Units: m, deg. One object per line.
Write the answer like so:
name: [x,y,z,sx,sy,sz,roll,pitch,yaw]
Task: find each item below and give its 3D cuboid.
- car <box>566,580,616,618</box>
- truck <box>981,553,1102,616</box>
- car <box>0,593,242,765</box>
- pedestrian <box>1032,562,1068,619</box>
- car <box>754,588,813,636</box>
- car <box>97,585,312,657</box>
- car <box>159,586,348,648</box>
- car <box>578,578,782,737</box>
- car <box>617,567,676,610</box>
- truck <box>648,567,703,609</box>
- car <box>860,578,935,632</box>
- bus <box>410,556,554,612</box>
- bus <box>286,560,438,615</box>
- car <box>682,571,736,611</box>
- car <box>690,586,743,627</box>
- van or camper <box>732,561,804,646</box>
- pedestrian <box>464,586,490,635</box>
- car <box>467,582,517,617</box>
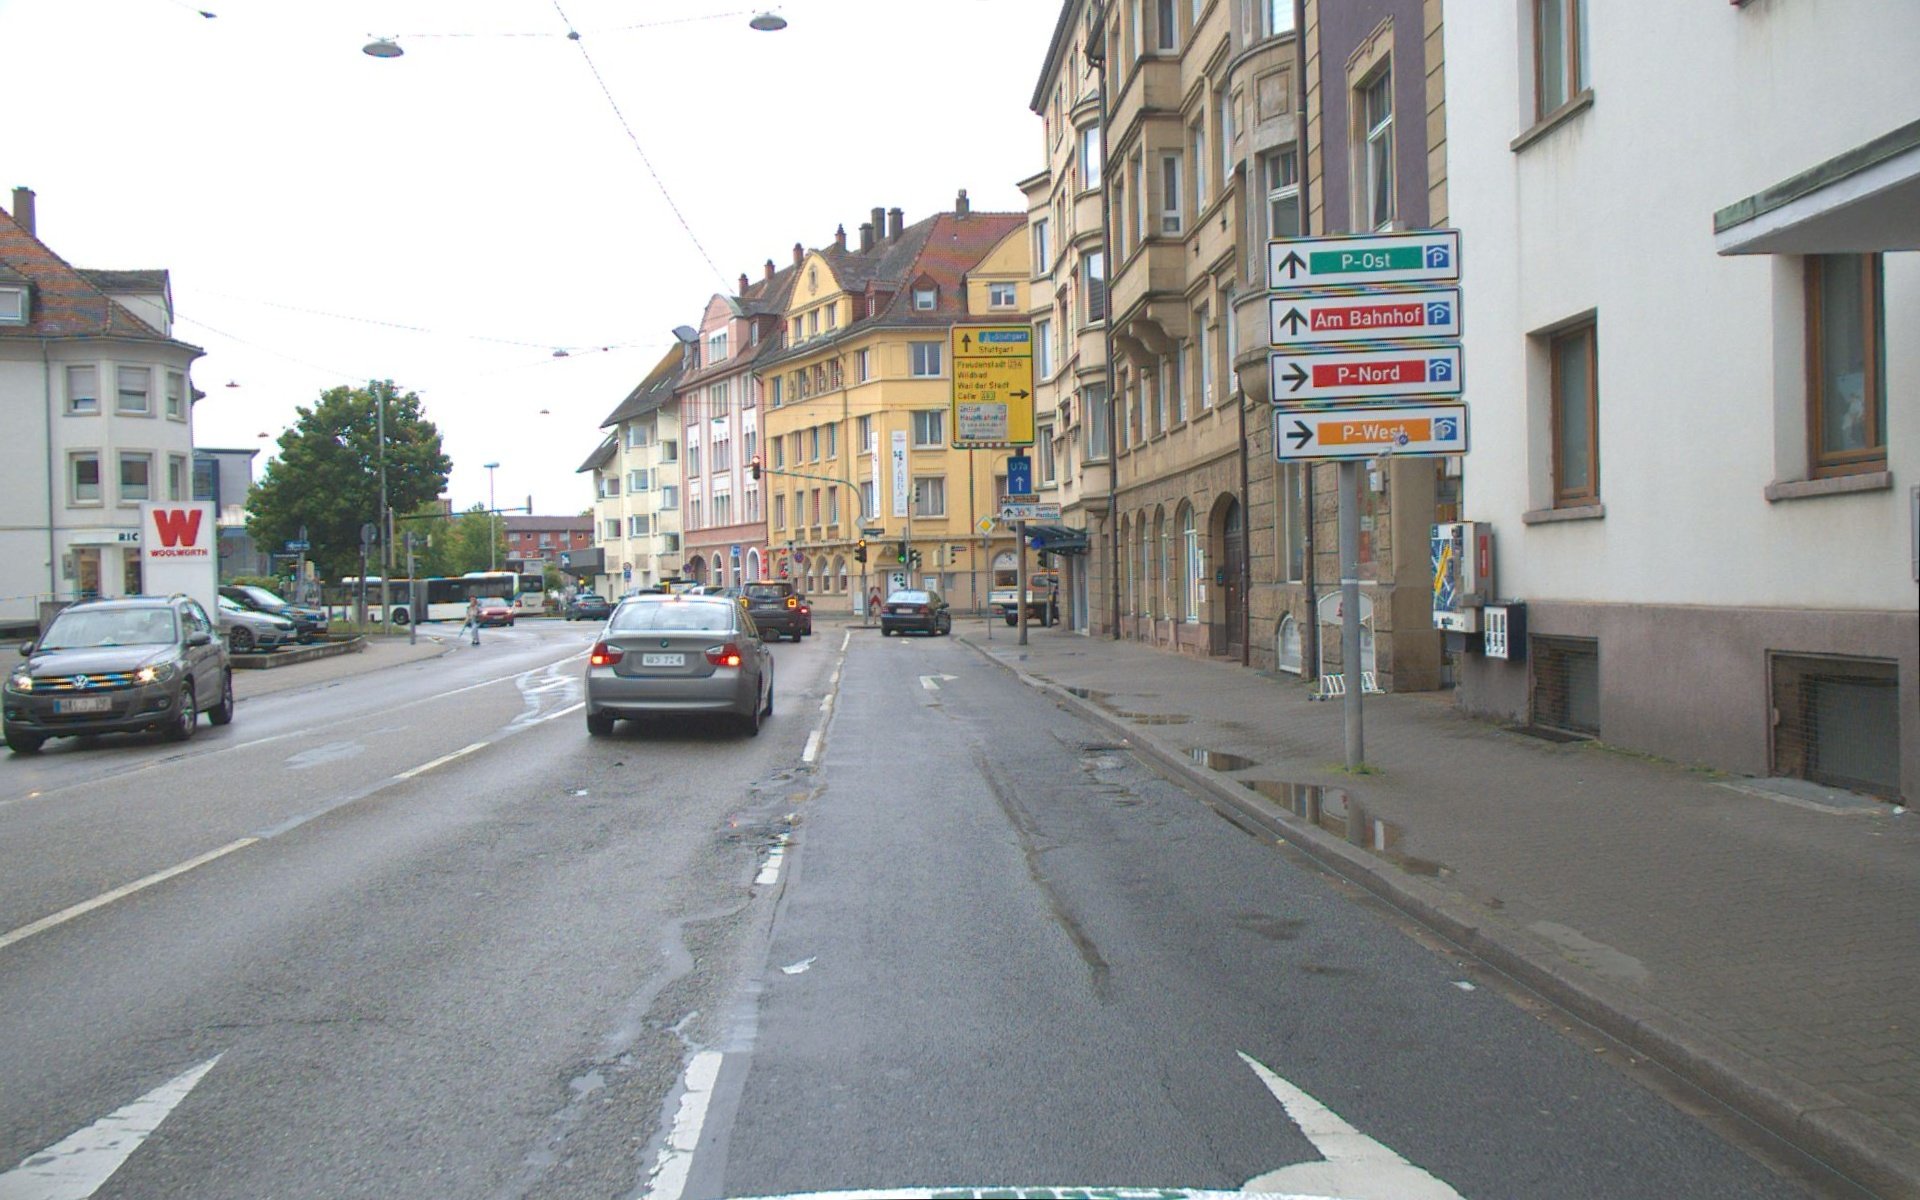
car: [-20.830,-0.051,93.285,1.968,2.048,3.969,-2,1,-25]
truck: [3.120,-0.612,62.341,2.187,2.289,5.045,0,1,35]
car: [-9.627,0.797,19.065,1.917,1.688,4.039,-2,1,-16]
pedestrian: [3.108,-0.338,56.992,1.035,1.937,1.026,-1,1,12]
car: [-5.587,0.350,52.224,1.768,1.430,4.677,-1,0,-7]
car: [-18.389,0.488,40.451,4.363,1.553,1.882,-2,1,-9]
car: [-19.453,0.443,45.650,4.325,1.532,1.955,-2,1,4]
car: [-2.891,0.531,17.876,1.764,1.489,4.367,1,0,-5]
car: [-15.648,-0.577,82.323,1.968,2.048,3.969,-2,1,-24]
truck: [-17.069,-0.712,99.129,2.004,2.431,4.197,-1,1,-29]
car: [-1.964,0.148,51.107,1.767,1.590,3.990,-1,0,-10]
bus: [-29.836,-0.974,103.166,8.935,3.159,2.916,-2,1,27]
bus: [-38.210,-0.788,105.801,8.653,3.159,2.921,-2,1,9]
car: [-14.332,-0.525,94.259,1.742,2.218,3.962,1,0,-29]
car: [-11.535,0.313,78.189,1.961,1.847,3.982,-2,0,-16]
van or camper: [-5.269,0.069,45.438,1.819,2.183,4.137,-2,1,-6]
pedestrian: [-15.416,0.344,52.764,0.750,1.556,0.504,0,-1,-24]
car: [-23.577,-0.052,83.268,1.821,1.713,3.969,-1,0,-25]
